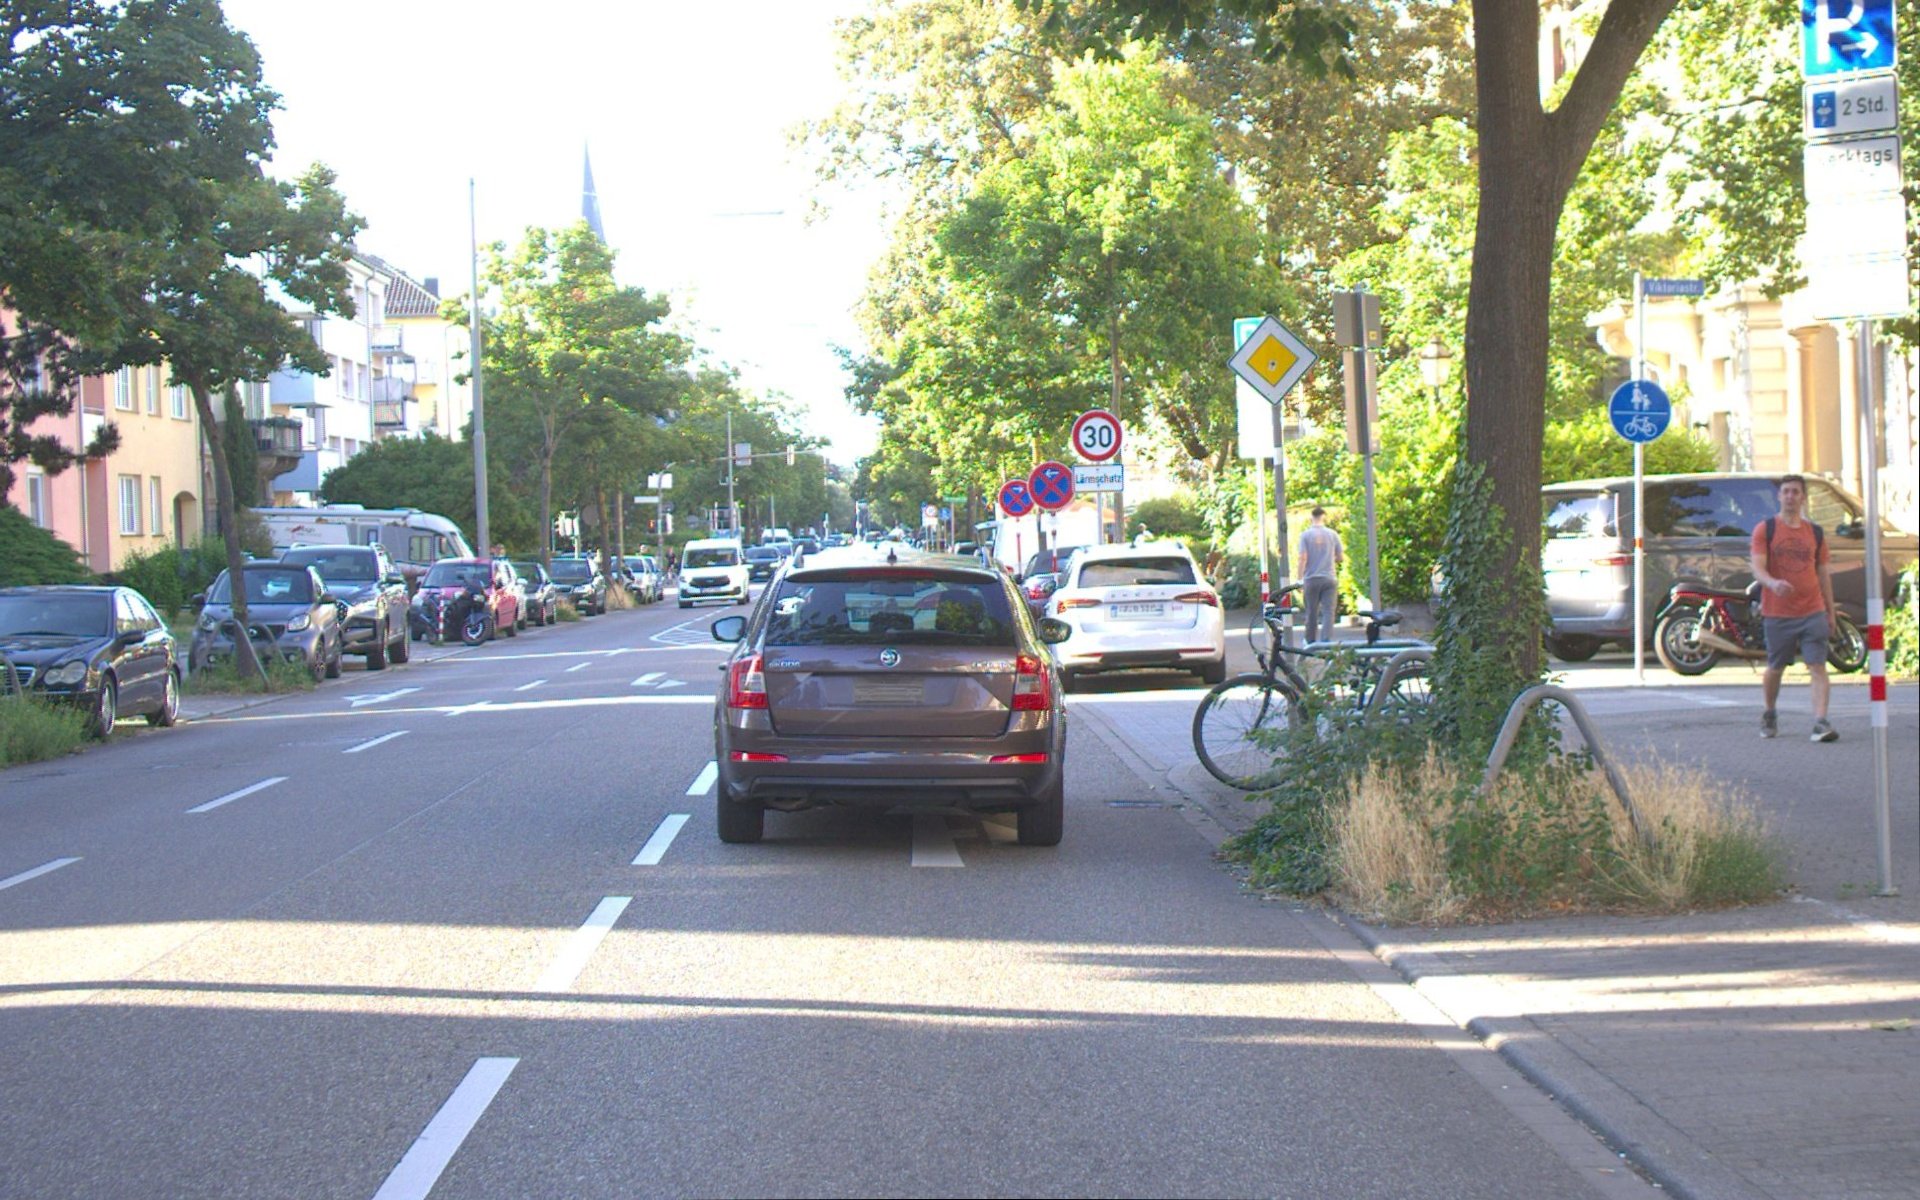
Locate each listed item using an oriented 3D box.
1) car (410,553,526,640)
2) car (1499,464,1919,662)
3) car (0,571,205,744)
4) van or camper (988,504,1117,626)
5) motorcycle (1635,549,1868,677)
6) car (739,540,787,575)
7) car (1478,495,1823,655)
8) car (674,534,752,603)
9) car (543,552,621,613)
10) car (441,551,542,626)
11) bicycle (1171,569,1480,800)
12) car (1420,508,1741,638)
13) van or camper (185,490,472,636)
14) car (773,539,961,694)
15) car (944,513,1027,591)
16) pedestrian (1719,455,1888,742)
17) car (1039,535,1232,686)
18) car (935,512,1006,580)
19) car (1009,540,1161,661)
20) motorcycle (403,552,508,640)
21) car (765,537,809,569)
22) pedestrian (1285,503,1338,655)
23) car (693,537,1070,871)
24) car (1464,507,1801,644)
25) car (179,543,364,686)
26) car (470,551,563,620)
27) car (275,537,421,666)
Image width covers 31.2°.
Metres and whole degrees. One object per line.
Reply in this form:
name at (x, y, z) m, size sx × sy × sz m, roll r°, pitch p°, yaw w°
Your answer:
car at (-9.344, -0.096, 65.553) m, size 1.664 × 1.506 × 4.179 m, roll -2°, pitch 2°, yaw -1°
car at (8.056, -0.423, 35.855) m, size 4.533 × 1.886 × 1.915 m, roll -2°, pitch 1°, yaw -28°
car at (-8.478, 0.496, 32.417) m, size 1.754 × 1.415 × 4.426 m, roll -1°, pitch 2°, yaw -1°
van or camper at (1.568, -0.639, 59.715) m, size 1.993 × 2.007 × 4.001 m, roll -2°, pitch 1°, yaw -1°
motorcycle at (7.424, 0.115, 32.272) m, size 2.051 × 1.121 × 0.525 m, roll -2°, pitch 1°, yaw -6°
car at (-8.878, -1.913, 155.000) m, size 1.993 × 1.503 × 4.000 m, roll -2°, pitch 1°, yaw -1°
car at (7.897, -0.306, 39.239) m, size 3.800 × 1.673 × 1.512 m, roll -2°, pitch 2°, yaw -31°
car at (-6.717, -0.880, 93.917) m, size 1.876 × 1.751 × 4.179 m, roll -2°, pitch 1°, yaw -1°
car at (-9.546, -0.453, 86.951) m, size 1.664 × 1.427 × 3.275 m, roll -2°, pitch 1°, yaw -1°
car at (-9.683, -0.256, 71.237) m, size 1.664 × 1.427 × 3.275 m, roll -2°, pitch 1°, yaw -1°
bicycle at (2.140, 0.488, 20.069) m, size 1.671 × 1.222 × 0.635 m, roll -3°, pitch 1°, yaw 12°
car at (7.937, -0.366, 43.978) m, size 3.799 × 1.520 × 1.512 m, roll -2°, pitch 1°, yaw -23°
van or camper at (-17.706, -1.055, 96.656) m, size 7.639 × 3.861 × 2.000 m, roll -2°, pitch 1°, yaw -3°
car at (-1.041, 0.130, 36.604) m, size 1.729 × 1.488 × 3.951 m, roll -2°, pitch 2°, yaw -5°
car at (0.590, -1.183, 82.997) m, size 1.729 × 1.809 × 3.951 m, roll -2°, pitch 1°, yaw -3°
pedestrian at (5.420, -0.021, 22.133) m, size 0.755 × 1.790 × 0.906 m, roll -2°, pitch 1°, yaw -6°
car at (1.769, 0.067, 35.822) m, size 1.821 × 1.408 × 4.111 m, roll -1°, pitch 2°, yaw 1°
car at (0.262, -1.508, 95.484) m, size 1.729 × 1.809 × 3.951 m, roll -2°, pitch 1°, yaw -3°
car at (1.562, -0.031, 44.306) m, size 1.821 × 1.408 × 4.111 m, roll -1°, pitch 2°, yaw 1°
motorcycle at (-8.912, -0.072, 60.658) m, size 0.764 × 1.506 × 2.029 m, roll -3°, pitch 2°, yaw -44°
car at (-8.425, -2.296, 167.973) m, size 1.993 × 1.503 × 4.000 m, roll -2°, pitch 1°, yaw -1°
pedestrian at (4.212, -0.260, 41.215) m, size 0.535 × 1.788 × 0.687 m, roll -1°, pitch 1°, yaw 1°
car at (-0.383, 0.449, 18.060) m, size 1.729 × 1.488 × 3.951 m, roll -1°, pitch 2°, yaw 0°
car at (8.192, -0.315, 41.859) m, size 3.799 × 1.520 × 1.512 m, roll -2°, pitch 1°, yaw -23°
car at (-9.078, 0.153, 45.591) m, size 1.750 × 1.734 × 3.591 m, roll -2°, pitch 1°, yaw -1°
car at (-9.758, -0.336, 75.780) m, size 1.664 × 1.427 × 3.275 m, roll -2°, pitch 1°, yaw -1°
car at (-8.911, -0.016, 50.259) m, size 1.507 × 1.751 × 3.694 m, roll -2°, pitch 1°, yaw -1°
